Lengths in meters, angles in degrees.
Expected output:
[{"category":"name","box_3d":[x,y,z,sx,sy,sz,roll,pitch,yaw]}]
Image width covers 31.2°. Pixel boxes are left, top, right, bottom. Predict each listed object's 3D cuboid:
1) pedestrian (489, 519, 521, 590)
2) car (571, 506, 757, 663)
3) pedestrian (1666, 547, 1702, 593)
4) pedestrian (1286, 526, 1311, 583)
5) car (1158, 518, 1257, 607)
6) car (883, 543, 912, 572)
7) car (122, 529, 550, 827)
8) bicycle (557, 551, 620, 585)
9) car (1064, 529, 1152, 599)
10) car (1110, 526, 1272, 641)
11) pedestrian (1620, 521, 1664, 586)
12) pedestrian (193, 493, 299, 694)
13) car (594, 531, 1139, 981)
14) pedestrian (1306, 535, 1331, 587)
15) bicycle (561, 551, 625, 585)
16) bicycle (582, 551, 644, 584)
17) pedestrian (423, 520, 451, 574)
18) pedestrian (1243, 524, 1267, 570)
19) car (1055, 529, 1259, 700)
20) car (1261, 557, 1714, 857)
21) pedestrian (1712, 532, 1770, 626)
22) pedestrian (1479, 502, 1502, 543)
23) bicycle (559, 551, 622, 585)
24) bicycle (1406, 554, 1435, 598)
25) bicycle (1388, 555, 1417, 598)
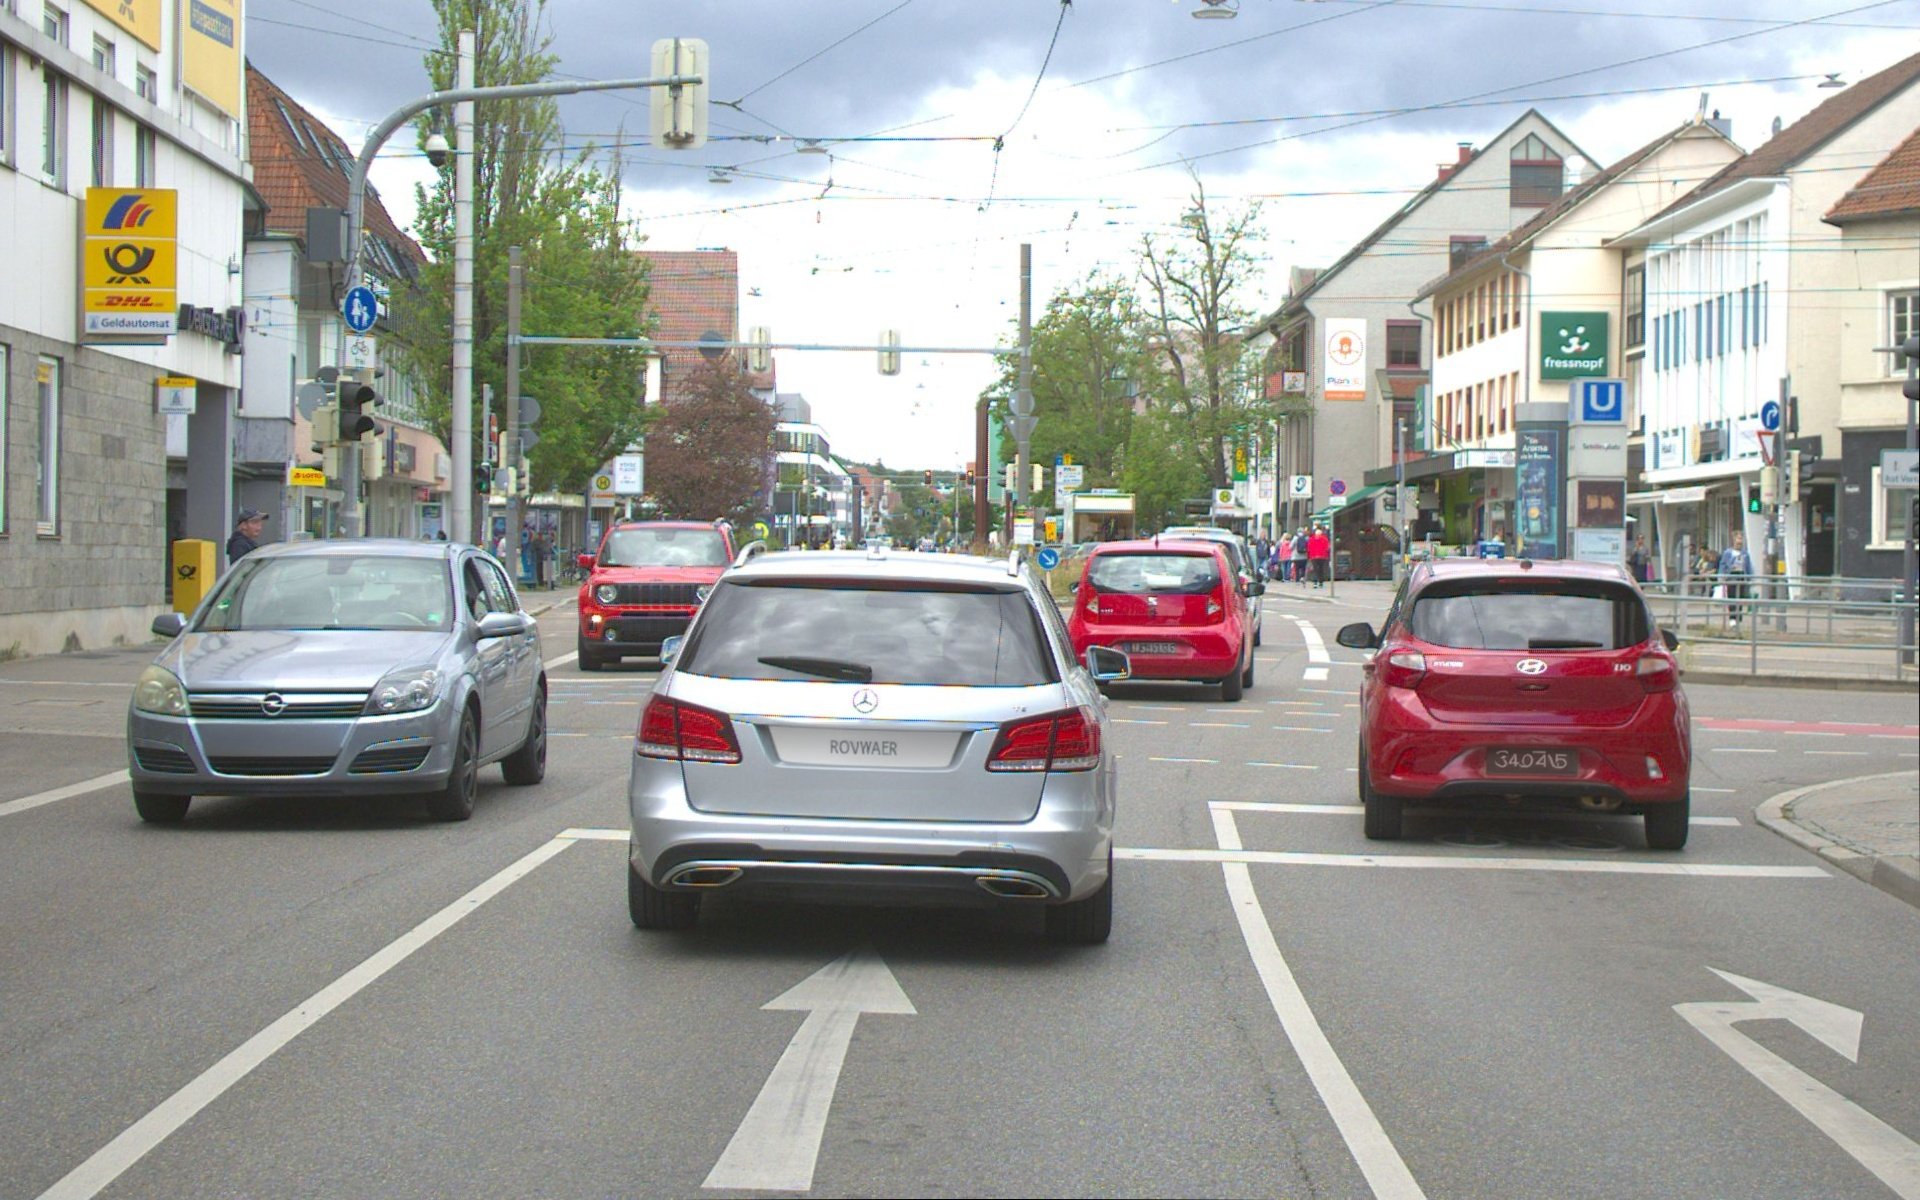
[{"category":"pedestrian","box_3d":[-10.390,-1.037,78.514,0.633,1.600,0.705,0,1,-14]},{"category":"car","box_3d":[-3.295,-0.204,38.878,1.799,1.689,3.898,0,1,-1]},{"category":"pedestrian","box_3d":[18.730,-0.770,88.987,0.736,1.160,0.643,2,1,-3]},{"category":"pedestrian","box_3d":[10.008,-1.354,101.674,0.578,1.661,0.651,2,1,-7]},{"category":"car","box_3d":[5.011,-0.785,69.944,1.734,1.753,4.000,0,1,0]},{"category":"car","box_3d":[-4.463,-3.062,245.909,1.993,2.007,4.000,1,1,-1]},{"category":"car","box_3d":[-3.287,0.344,18.790,1.657,1.461,3.921,0,1,-1]},{"category":"bicycle","box_3d":[-11.944,-1.042,110.450,1.937,1.025,0.530,2,1,-10]},{"category":"car","box_3d":[3.824,-0.949,89.383,1.993,1.744,4.000,1,1,-1]},{"category":"car","box_3d":[3.114,-0.255,46.992,1.734,1.503,4.001,0,1,-3]},{"category":"pedestrian","box_3d":[17.020,-1.165,85.838,0.640,1.586,0.898,1,1,-21]},{"category":"pedestrian","box_3d":[-6.247,-0.066,30.089,0.648,1.712,0.782,2,1,6]},{"category":"car","box_3d":[-0.334,0.503,14.030,1.845,1.503,4.171,2,1,0]},{"category":"pedestrian","box_3d":[10.249,-1.112,98.297,0.578,1.464,0.651,2,1,-5]},{"category":"bicycle","box_3d":[-11.655,-1.015,109.200,1.937,1.025,0.530,2,1,-10]},{"category":"bicycle","box_3d":[-11.424,-1.065,113.187,1.937,1.025,0.530,2,1,-10]},{"category":"pedestrian","box_3d":[-15.483,-1.569,101.724,0.702,1.600,0.580,0,1,-21]},{"category":"pedestrian","box_3d":[9.294,-1.677,108.370,0.578,1.430,0.651,2,1,-6]},{"category":"car","box_3d":[1.941,0.090,32.937,1.734,1.503,3.999,1,1,6]},{"category":"car","box_3d":[2.838,0.518,19.341,1.698,1.447,4.001,1,1,-3]},{"category":"pedestrian","box_3d":[14.312,-0.390,62.996,0.841,1.712,0.727,0,1,-4]},{"category":"pedestrian","box_3d":[16.003,-2.347,103.666,0.533,1.214,0.580,2,1,-3]},{"category":"bicycle","box_3d":[-11.804,-1.029,109.859,1.937,1.025,0.530,2,1,-10]},{"category":"bicycle","box_3d":[11.784,-0.619,88.035,0.448,1.103,2.149,1,1,0]},{"category":"bicycle","box_3d":[11.334,-0.616,88.032,0.448,1.087,2.149,1,1,0]}]
